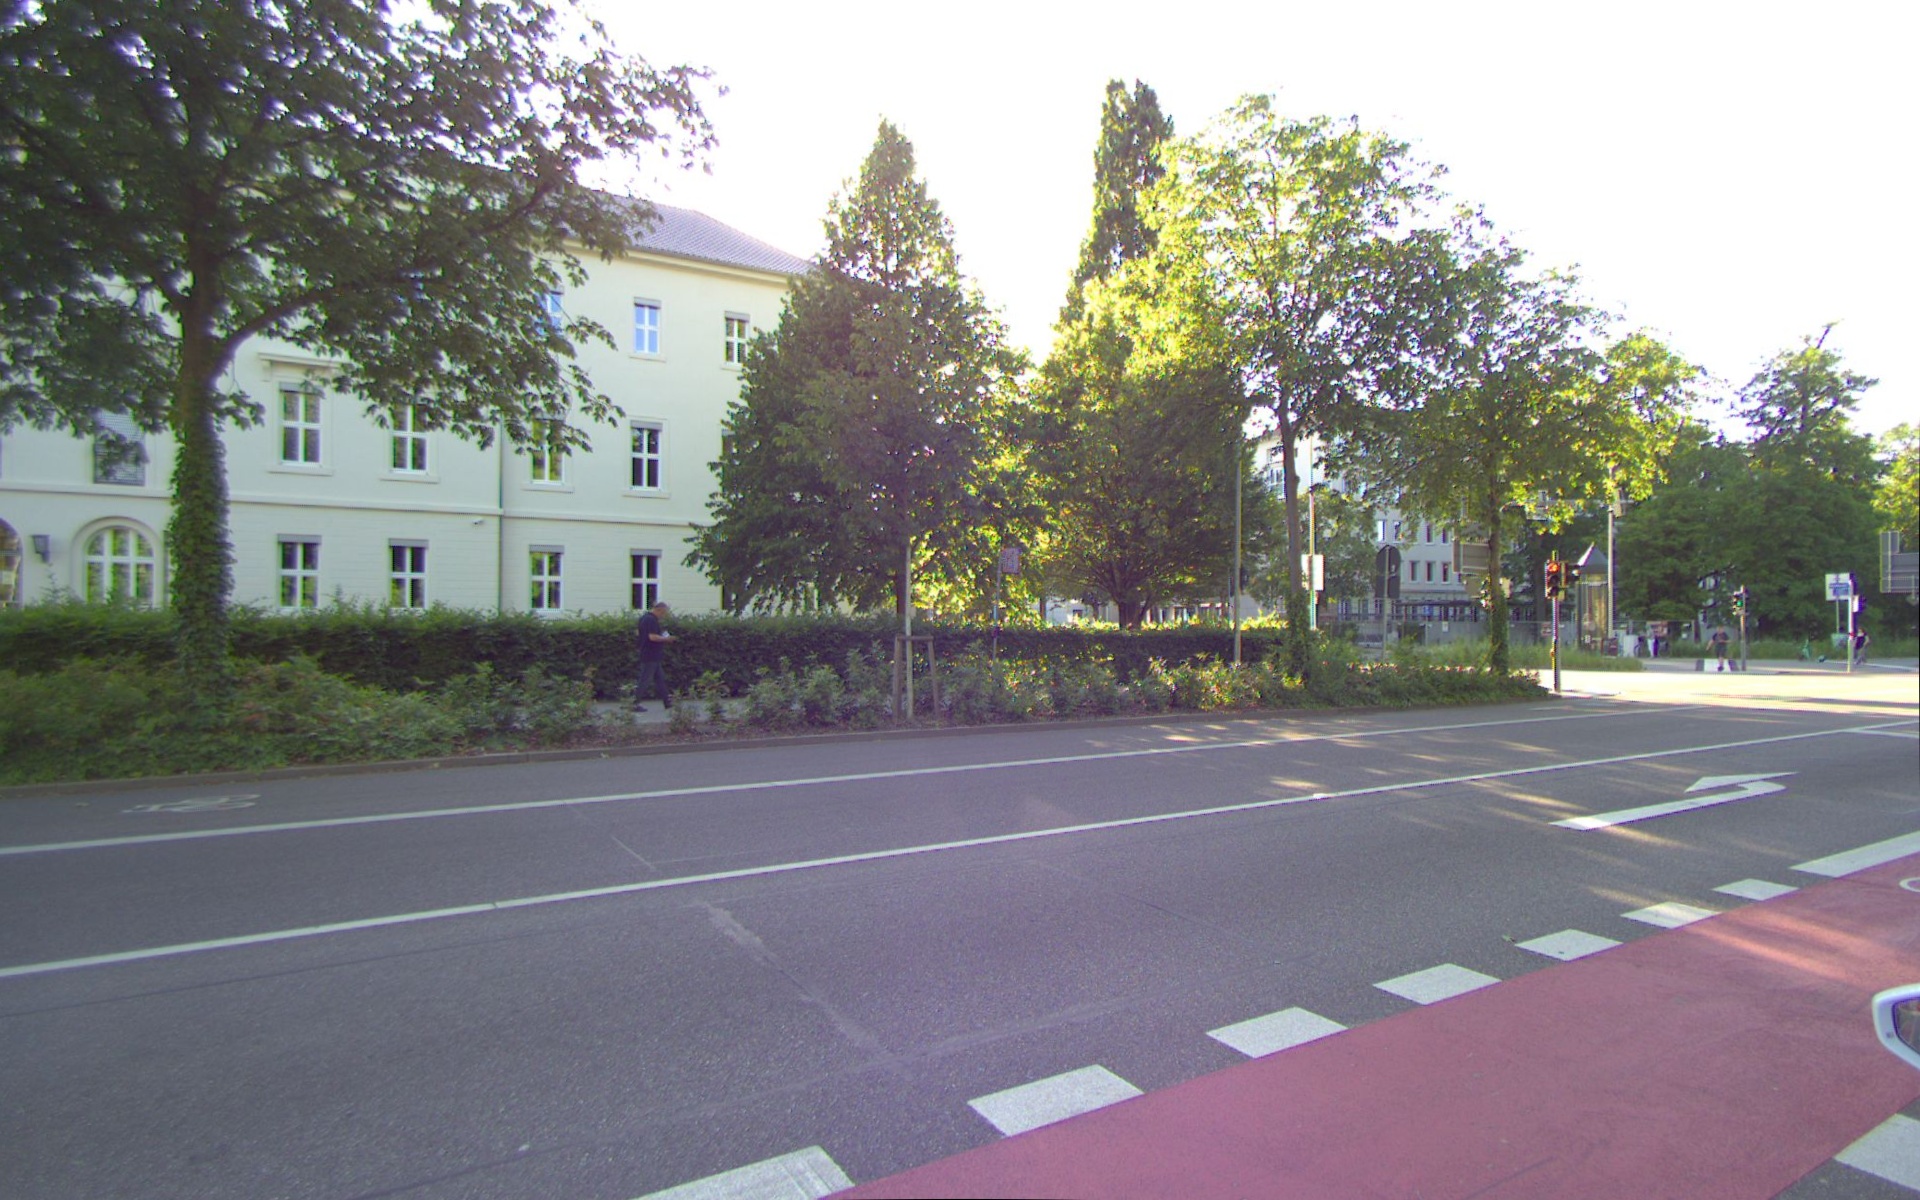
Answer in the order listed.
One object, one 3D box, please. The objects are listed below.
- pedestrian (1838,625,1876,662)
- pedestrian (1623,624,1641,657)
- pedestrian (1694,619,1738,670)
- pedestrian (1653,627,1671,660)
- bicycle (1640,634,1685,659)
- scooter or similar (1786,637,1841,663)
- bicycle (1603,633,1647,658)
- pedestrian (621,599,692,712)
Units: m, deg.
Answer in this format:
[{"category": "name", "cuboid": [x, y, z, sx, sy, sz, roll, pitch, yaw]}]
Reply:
[{"category": "pedestrian", "cuboid": [40.077, 1.940, 44.873, 0.992, 1.624, 1.080, 1, -2, -36]}, {"category": "pedestrian", "cuboid": [34.225, 2.070, 51.163, 0.442, 1.664, 0.624, 1, 0, -39]}, {"category": "pedestrian", "cuboid": [31.056, 1.805, 41.273, 1.175, 2.040, 0.992, 1, 0, -25]}, {"category": "pedestrian", "cuboid": [34.803, 2.158, 49.818, 0.442, 1.601, 0.624, 1, 0, -39]}, {"category": "bicycle", "cuboid": [34.942, 2.314, 50.002, 0.288, 1.163, 1.849, 1, -1, -36]}, {"category": "scooter or similar", "cuboid": [39.544, 2.302, 46.538, 1.882, 1.139, 0.713, 1, 0, 3]}, {"category": "bicycle", "cuboid": [34.229, 2.330, 51.693, 0.438, 1.163, 1.849, 1, -1, -36]}, {"category": "pedestrian", "cuboid": [-4.881, 0.877, 16.137, 0.956, 1.743, 0.831, 1, -2, -28]}]
